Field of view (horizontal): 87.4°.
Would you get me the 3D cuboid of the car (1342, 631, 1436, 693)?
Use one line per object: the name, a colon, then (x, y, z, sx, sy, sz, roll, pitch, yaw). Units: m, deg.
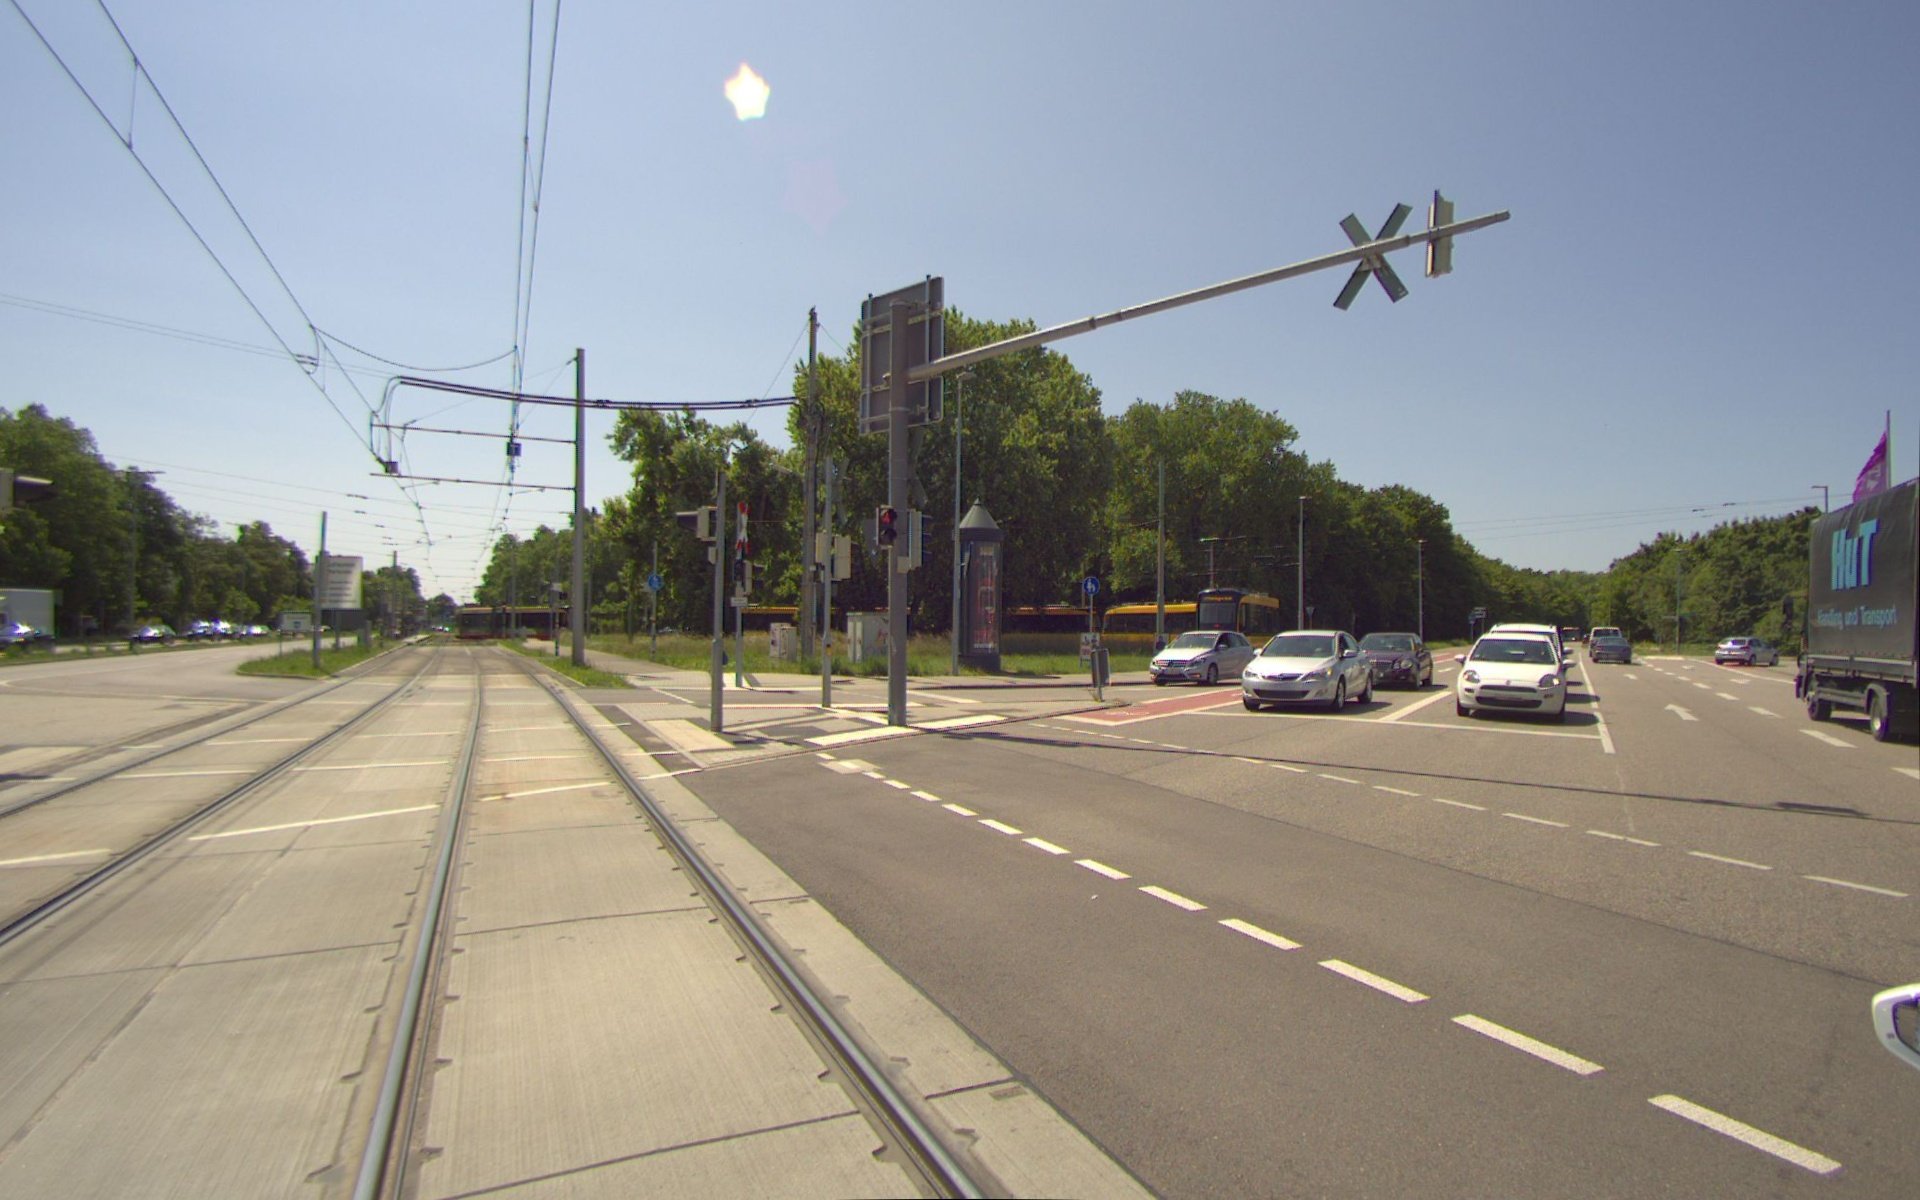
car: (11.428, 1.569, 26.613, 1.734, 1.476, 4.277, -1, -2, 31)

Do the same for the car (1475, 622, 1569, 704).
car: (13.680, 1.426, 24.321, 1.786, 1.746, 4.820, 0, -1, 32)

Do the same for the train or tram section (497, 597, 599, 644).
train or tram section: (-41.068, 2.125, 99.797, 12.539, 4.311, 3.017, -2, -2, 35)

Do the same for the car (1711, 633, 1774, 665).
car: (42.583, 2.653, 54.655, 3.965, 1.654, 1.824, 2, -2, -38)

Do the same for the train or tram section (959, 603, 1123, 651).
train or tram section: (6.812, 2.373, 86.136, 13.936, 3.808, 3.022, -2, -2, 28)

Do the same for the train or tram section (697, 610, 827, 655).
train or tram section: (-17.977, 2.957, 91.638, 11.212, 3.808, 3.027, -1, -2, 3)

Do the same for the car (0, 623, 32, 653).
car: (-42.963, 1.703, 44.564, 1.726, 1.304, 3.970, -2, 0, -29)

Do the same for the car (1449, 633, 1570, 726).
car: (10.146, 1.365, 18.475, 1.742, 1.457, 3.953, 1, -1, 31)

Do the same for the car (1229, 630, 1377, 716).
car: (6.794, 1.339, 19.611, 1.766, 1.475, 4.402, -1, -2, 32)

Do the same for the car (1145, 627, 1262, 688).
car: (7.123, 1.614, 29.111, 1.720, 1.566, 4.240, -2, -1, 38)

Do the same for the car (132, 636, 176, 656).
car: (-60.158, 3.416, 74.995, 1.864, 1.304, 3.970, -2, 0, -29)

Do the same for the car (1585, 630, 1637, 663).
car: (34.835, 2.470, 53.689, 2.000, 1.654, 3.984, -1, -2, 38)

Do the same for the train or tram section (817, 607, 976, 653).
train or tram section: (-5.667, 2.741, 90.375, 13.906, 3.808, 3.028, -1, -2, 9)

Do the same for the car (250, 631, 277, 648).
car: (-81.019, 4.592, 116.902, 1.973, 1.755, 3.974, -2, 0, -26)

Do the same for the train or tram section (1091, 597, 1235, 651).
train or tram section: (15.114, 1.927, 76.817, 2.985, 3.808, 13.962, 0, -2, -25)

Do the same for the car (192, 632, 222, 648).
car: (-66.033, 3.502, 88.134, 1.585, 1.304, 3.618, -2, 0, -29)

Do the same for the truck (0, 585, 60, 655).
truck: (-52.306, 1.139, 54.919, 2.555, 3.580, 7.660, -2, 0, -27)

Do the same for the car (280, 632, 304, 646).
car: (-90.716, 5.295, 136.369, 1.971, 1.755, 3.978, -2, 0, -23)

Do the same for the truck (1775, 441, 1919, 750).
truck: (15.887, 0.050, 16.156, 3.032, 4.123, 7.944, 1, -1, 30)

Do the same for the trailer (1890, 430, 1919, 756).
trailer: (11.576, -0.206, 9.015, 3.034, 4.123, 9.784, 1, -2, 33)

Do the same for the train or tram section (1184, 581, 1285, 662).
train or tram section: (15.040, 1.212, 54.102, 2.969, 3.808, 12.982, -2, -2, 25)

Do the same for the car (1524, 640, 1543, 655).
car: (58.392, 4.812, 102.228, 1.599, 1.475, 3.494, -2, -3, 32)

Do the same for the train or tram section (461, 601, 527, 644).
train or tram section: (-50.142, 2.498, 107.765, 3.003, 4.311, 12.598, 1, -2, -41)

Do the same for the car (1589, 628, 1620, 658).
car: (42.908, 2.855, 66.845, 1.633, 1.932, 3.989, -1, -2, 33)

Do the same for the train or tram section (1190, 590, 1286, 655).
train or tram section: (17.747, 1.530, 65.142, 2.966, 3.808, 11.620, -1, -2, 0)

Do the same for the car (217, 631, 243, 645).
car: (-70.046, 3.643, 96.447, 1.585, 1.304, 3.618, -2, 0, -29)
